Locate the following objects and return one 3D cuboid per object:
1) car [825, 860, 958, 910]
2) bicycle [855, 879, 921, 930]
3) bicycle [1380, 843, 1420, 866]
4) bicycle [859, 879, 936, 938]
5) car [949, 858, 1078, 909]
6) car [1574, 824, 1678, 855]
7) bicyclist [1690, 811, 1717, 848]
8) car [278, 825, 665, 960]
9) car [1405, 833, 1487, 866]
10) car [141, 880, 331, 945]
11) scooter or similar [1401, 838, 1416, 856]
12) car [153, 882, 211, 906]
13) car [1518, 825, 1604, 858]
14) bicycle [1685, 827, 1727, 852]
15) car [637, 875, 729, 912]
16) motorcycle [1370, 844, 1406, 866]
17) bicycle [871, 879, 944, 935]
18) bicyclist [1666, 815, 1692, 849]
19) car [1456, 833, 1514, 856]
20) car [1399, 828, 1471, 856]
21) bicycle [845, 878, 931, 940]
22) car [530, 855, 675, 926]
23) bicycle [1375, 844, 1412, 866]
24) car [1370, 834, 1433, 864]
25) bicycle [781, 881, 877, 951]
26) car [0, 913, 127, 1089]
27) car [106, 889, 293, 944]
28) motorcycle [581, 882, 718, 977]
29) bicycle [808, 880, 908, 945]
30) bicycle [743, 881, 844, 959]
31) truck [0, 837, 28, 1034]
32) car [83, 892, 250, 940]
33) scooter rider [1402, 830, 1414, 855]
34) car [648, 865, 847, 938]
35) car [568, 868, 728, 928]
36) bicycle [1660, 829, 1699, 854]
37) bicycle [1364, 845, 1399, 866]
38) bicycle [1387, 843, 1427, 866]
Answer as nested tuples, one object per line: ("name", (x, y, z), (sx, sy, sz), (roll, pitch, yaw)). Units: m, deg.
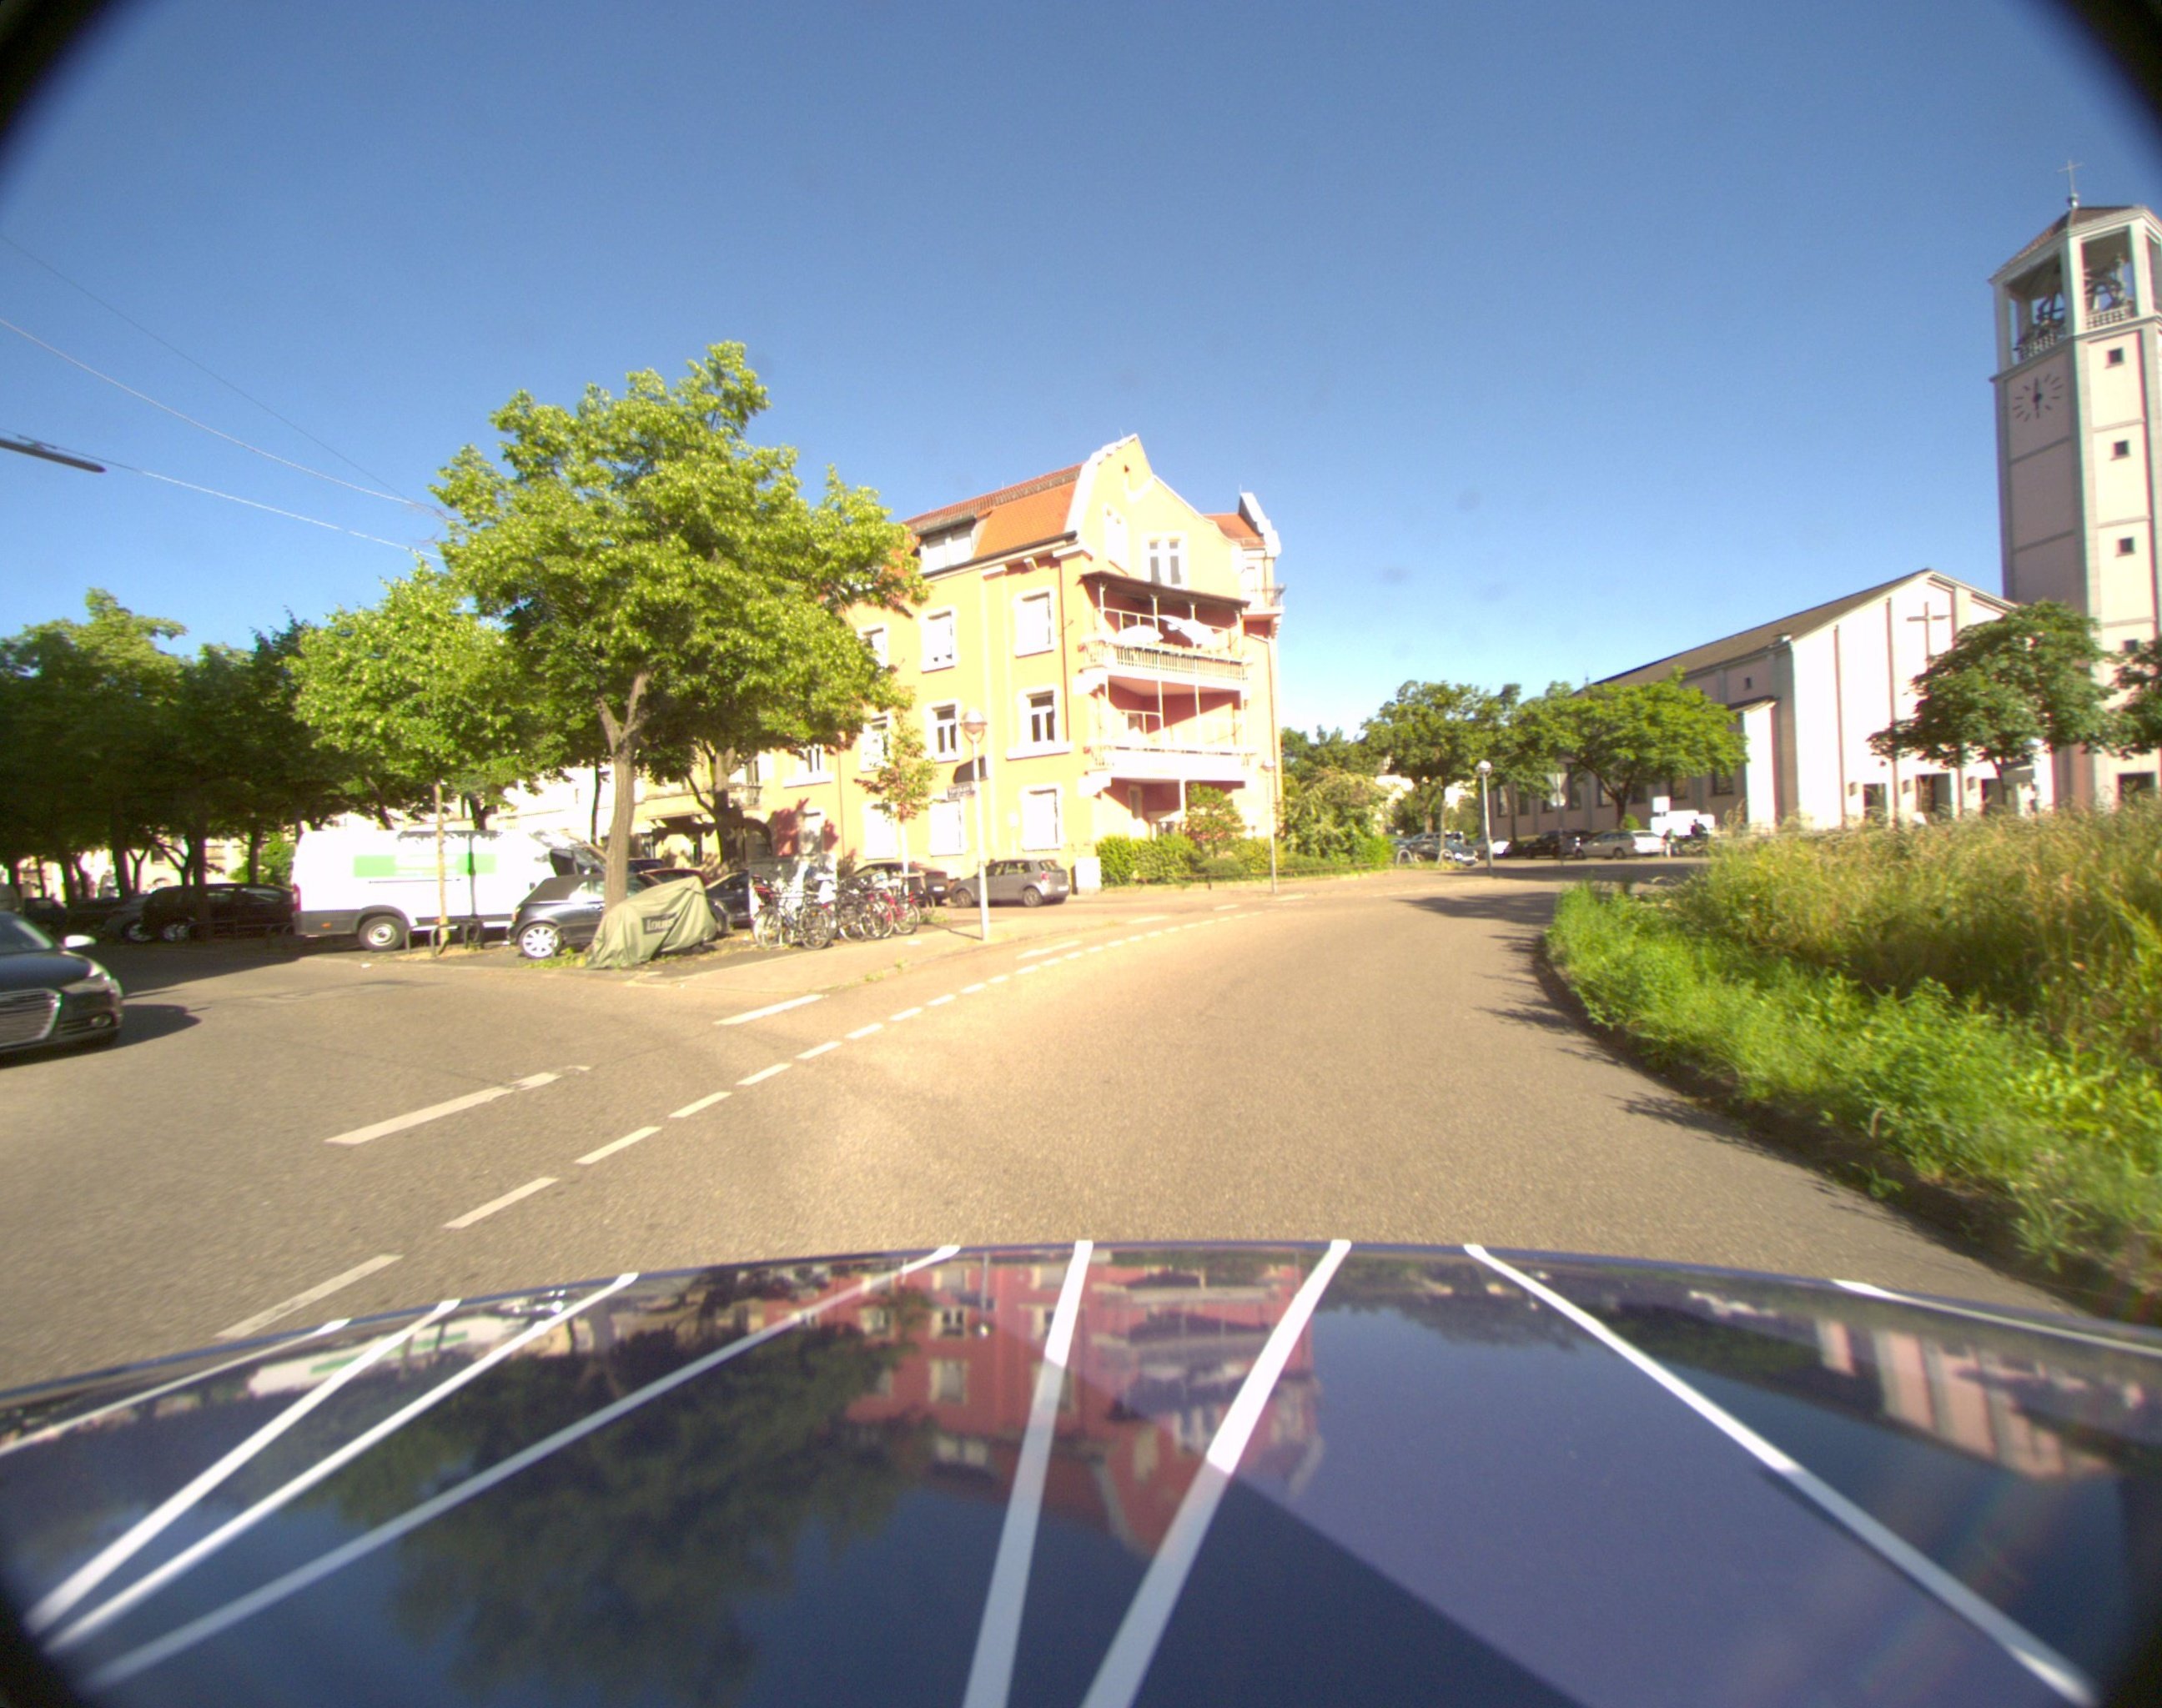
("car", (-6.437, 1.059, 25.690), (4.284, 1.553, 1.691), (-2, -1, 28))
("bicycle", (-4.276, 1.116, 16.782), (1.522, 1.080, 0.420), (-3, 1, 32))
("bicycle", (15.933, 0.033, 37.951), (1.725, 1.108, 0.546), (-1, 1, 0))
("bicycle", (-3.637, 1.072, 15.010), (1.569, 1.083, 0.420), (-2, 2, 31))
("car", (-2.085, 0.900, 23.335), (3.537, 1.438, 1.691), (-2, -1, 28))
("car", (26.778, -0.673, 37.544), (1.809, 1.407, 4.337), (-2, 0, -4))
("bicyclist", (29.591, -1.170, 36.110), (0.645, 1.704, 0.723), (-3, 1, 7))
("car", (-13.160, 0.741, 17.084), (6.382, 2.584, 2.100), (-2, -1, -21))
("car", (18.901, -0.218, 39.570), (1.809, 1.475, 4.336), (-5, 0, -5))
("car", (-25.018, 1.686, 22.690), (3.502, 1.655, 1.684), (-1, -1, -37))
("scooter or similar", (23.982, -0.517, 55.662), (0.631, 1.275, 1.106), (-2, 1, 7))
("car", (-63.972, 2.870, 54.068), (3.990, 1.501, 1.803), (-2, 0, 28))
("car", (26.987, -0.679, 42.898), (1.809, 1.718, 4.337), (-2, 0, -4))
("bicycle", (29.614, -0.665, 36.029), (0.645, 1.101, 1.718), (-3, 0, 7))
("car", (-16.014, 1.590, 30.573), (3.273, 1.373, 1.691), (-2, -1, 28))
("motorcycle", (15.994, 0.059, 39.610), (1.726, 1.101, 0.500), (-1, 1, -7))
("bicycle", (-3.542, 1.075, 15.482), (1.522, 1.080, 0.420), (-3, 1, 32))
("bicyclist", (28.306, -1.034, 36.001), (0.595, 1.572, 0.805), (-3, 1, 9))
("car", (26.922, -0.610, 50.794), (1.808, 1.465, 4.339), (-2, 0, 3))
("car", (27.386, -0.947, 58.888), (4.777, 1.989, 1.809), (-2, 0, -4))
("bicycle", (-3.662, 1.033, 14.373), (1.646, 1.096, 0.501), (-3, 1, 31))
("car", (-13.834, 1.022, 22.094), (3.389, 1.854, 1.684), (-1, -1, -33))
("bicycle", (15.992, 0.029, 38.934), (1.831, 1.101, 0.500), (-1, 1, -15))
("car", (19.033, -0.297, 45.340), (1.808, 1.552, 4.398), (-5, 0, 0))
("bicycle", (-4.393, 1.070, 13.211), (1.598, 1.120, 0.590), (-3, 1, 29))
("car", (-10.762, 1.325, 6.872), (3.913, 1.382, 1.690), (-2, 1, 25))
("car", (-27.383, 1.895, 23.787), (3.502, 1.450, 1.684), (-1, -1, -37))
("motorcycle", (-6.470, 1.091, 11.488), (0.537, 1.263, 1.715), (-1, 0, 33))
("bicycle", (-4.076, 1.061, 13.852), (1.725, 1.082, 0.658), (-3, 1, 29))
("bicycle", (-4.748, 1.068, 12.506), (1.675, 1.186, 0.539), (-3, 1, 29))
("truck", (-15.920, 1.103, 9.434), (6.605, 2.279, 2.142), (-2, 2, 26))
("car", (-32.671, 2.161, 27.305), (3.502, 1.450, 1.684), (-1, -1, -37))
("scooter rider", (23.972, -0.843, 55.670), (0.624, 1.821, 0.632), (-2, 1, 7))
("car", (-7.705, 1.036, 17.711), (3.929, 1.438, 1.684), (-1, -1, -37))
("car", (-11.733, 1.148, 20.723), (1.683, 1.438, 3.391), (-3, -1, 42))
("bicycle", (28.335, -0.583, 36.021), (0.595, 1.101, 1.864), (-3, 1, 9))
("bicycle", (15.886, 0.065, 40.167), (1.726, 1.101, 0.500), (-1, 1, -7))
("bicycle", (15.894, 0.017, 37.083), (1.725, 1.108, 0.546), (-1, 1, 0))
